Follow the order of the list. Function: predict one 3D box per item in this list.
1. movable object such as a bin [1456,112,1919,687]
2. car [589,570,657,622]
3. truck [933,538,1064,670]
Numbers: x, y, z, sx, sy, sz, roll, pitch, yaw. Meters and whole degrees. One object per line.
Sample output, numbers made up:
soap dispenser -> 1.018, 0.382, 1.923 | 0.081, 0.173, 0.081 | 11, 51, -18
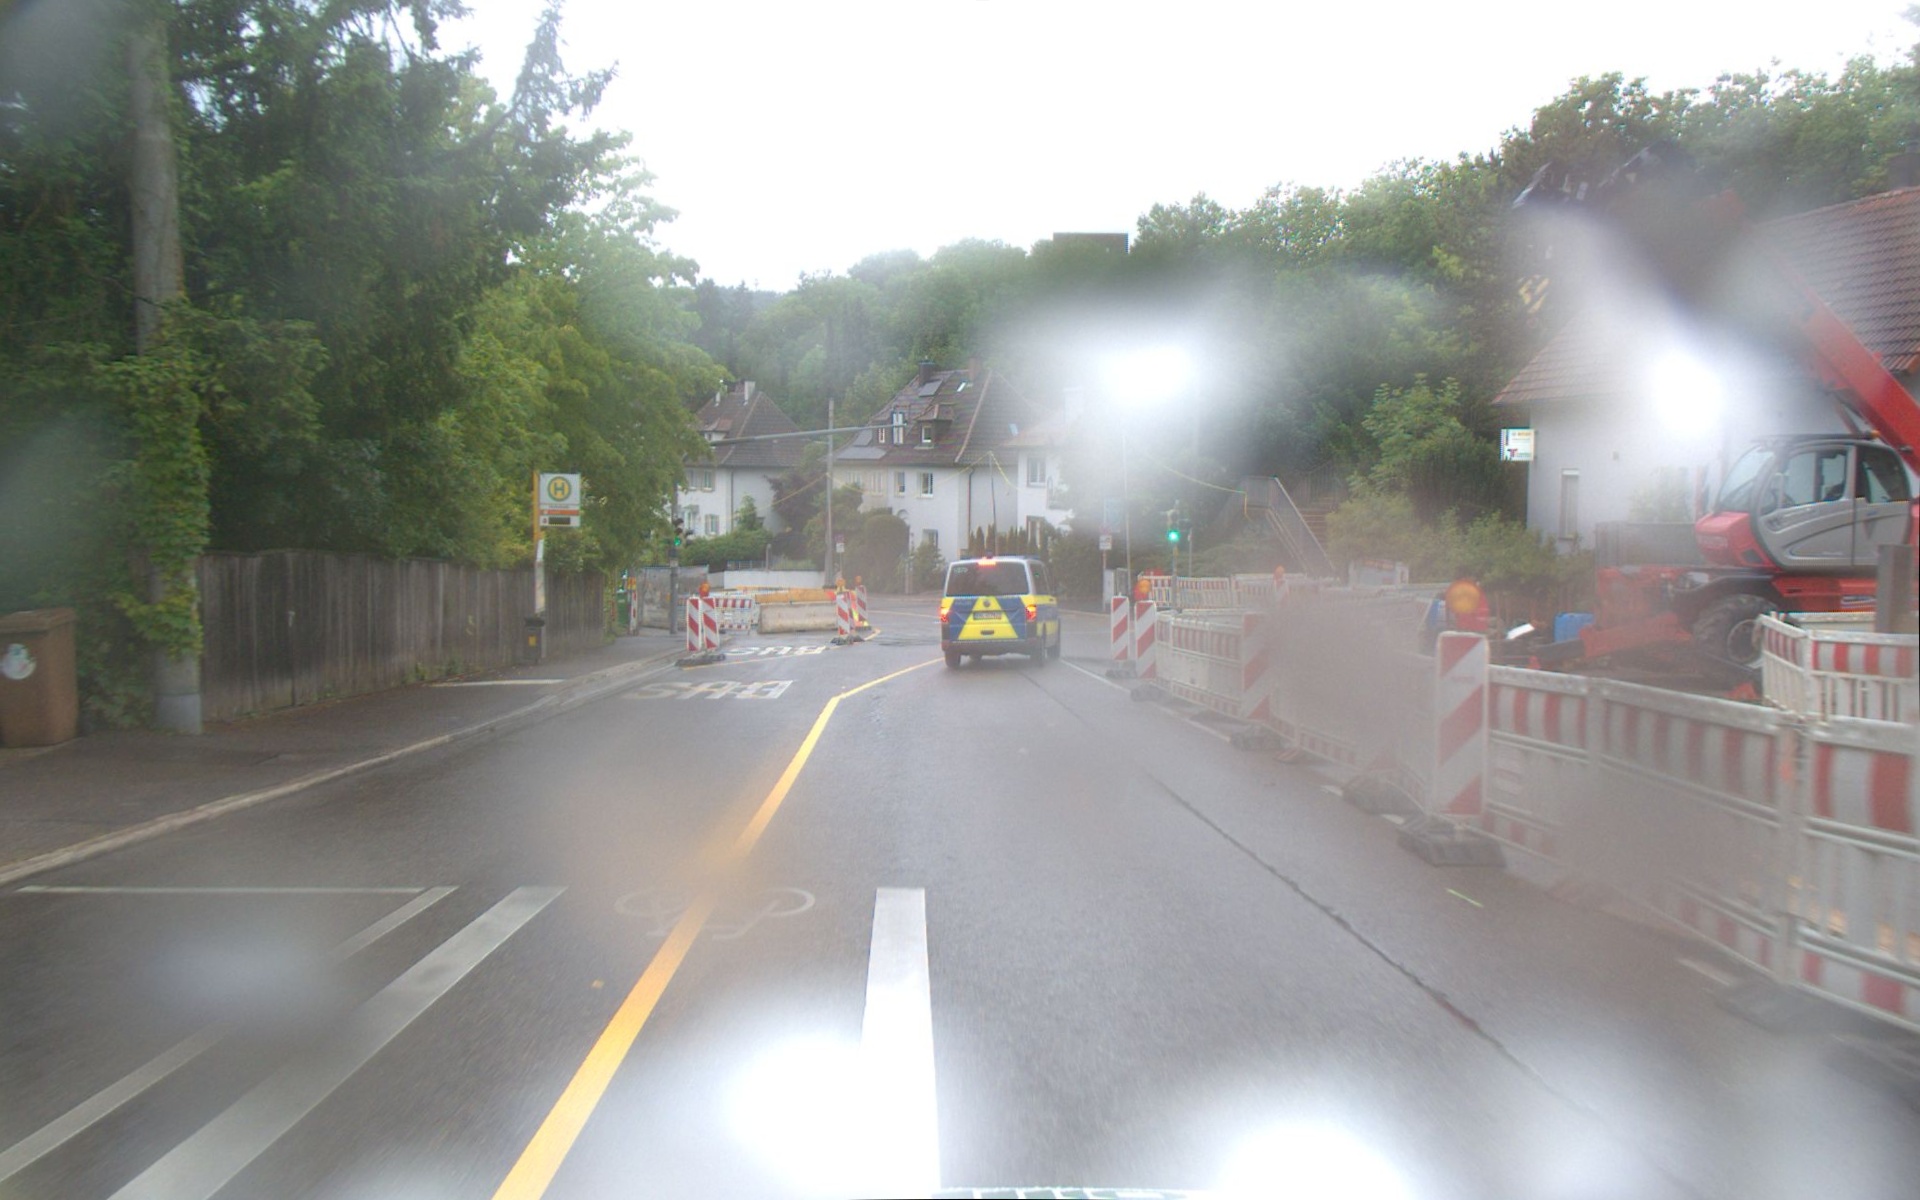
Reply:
movable object such as a bin -> 10.325, -2.411, 21.489 | 6.815, 6.806, 3.042 | 0, 0, -6
car -> -13.824, -0.178, 67.672 | 1.965, 2.049, 4.776 | 1, 0, -21
truck -> 0.826, -0.004, 31.374 | 1.951, 2.047, 4.742 | -1, 5, 7
